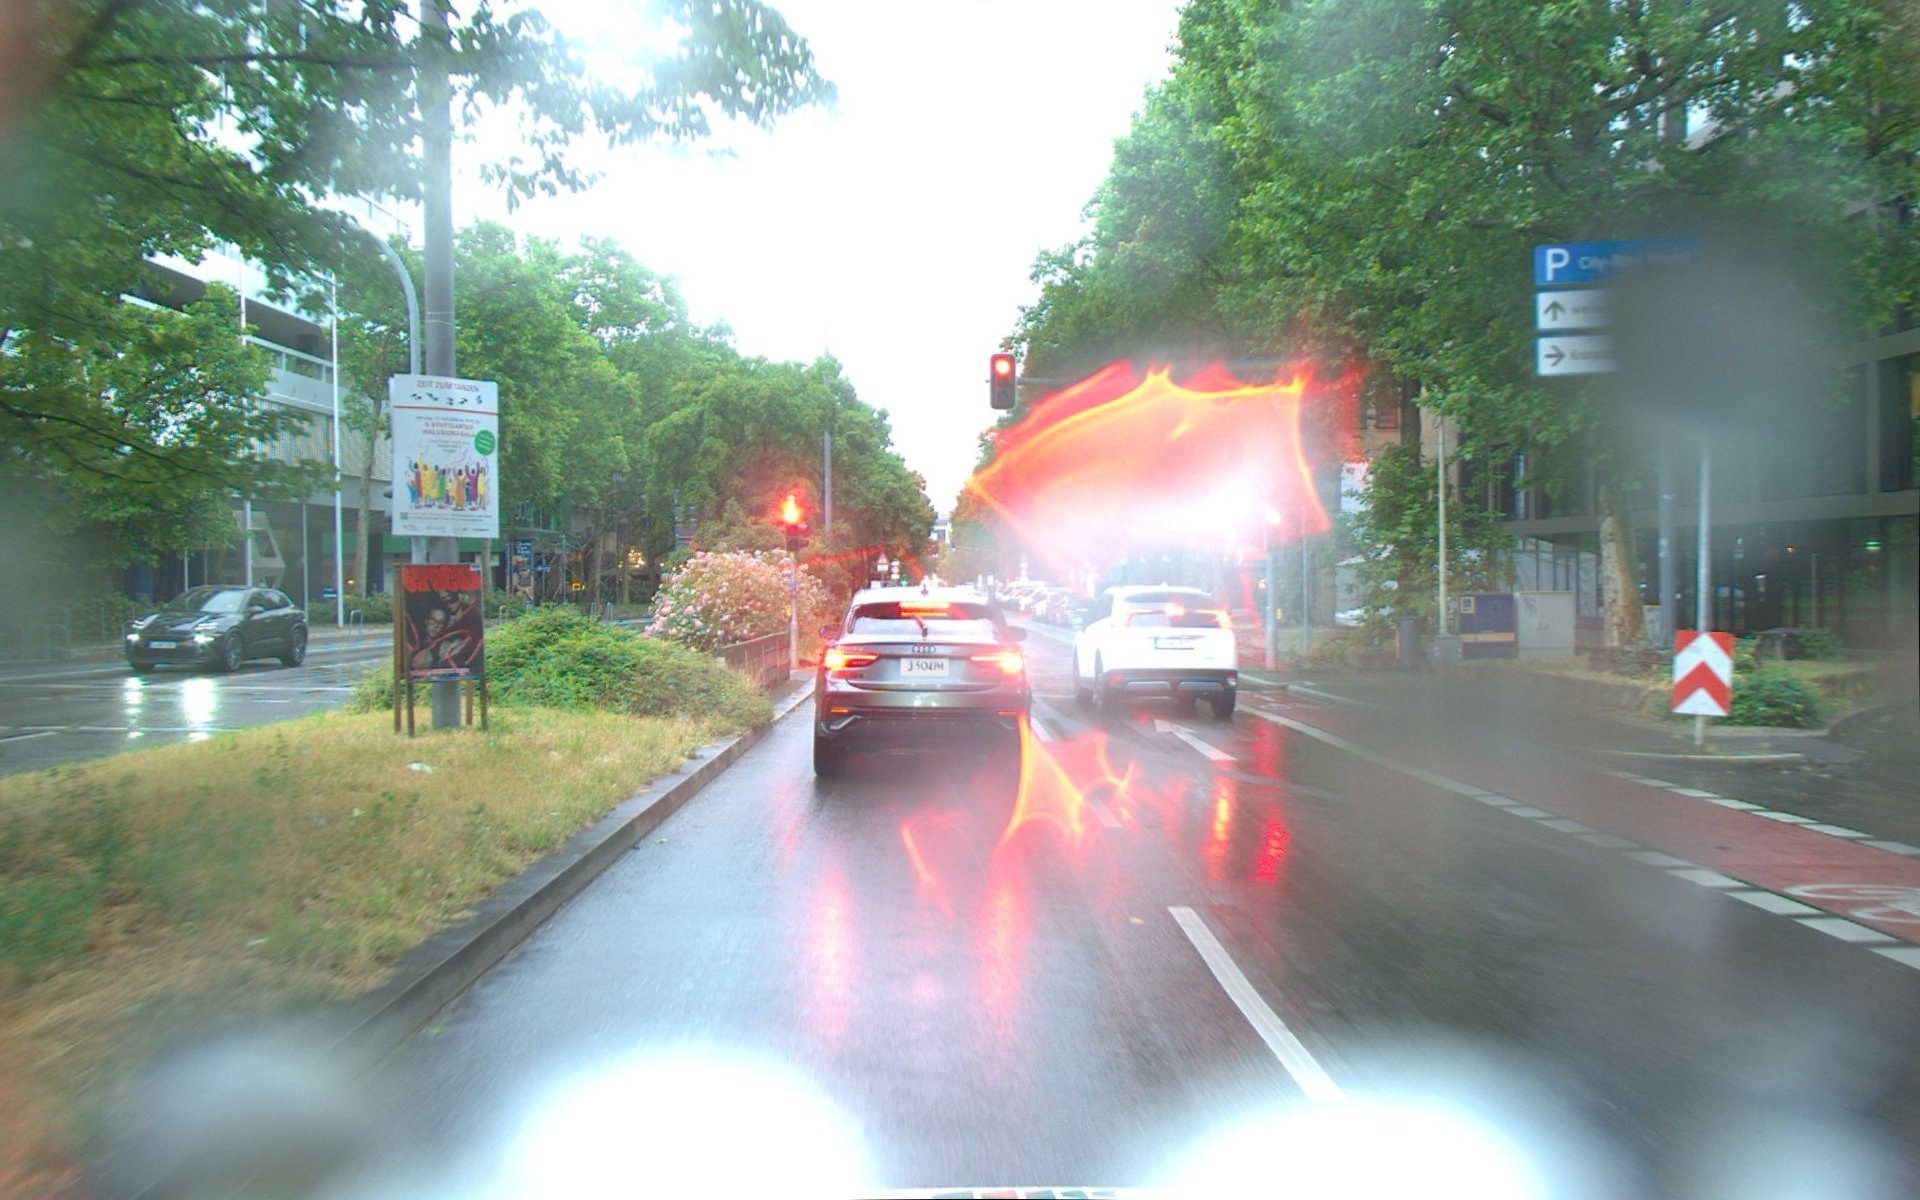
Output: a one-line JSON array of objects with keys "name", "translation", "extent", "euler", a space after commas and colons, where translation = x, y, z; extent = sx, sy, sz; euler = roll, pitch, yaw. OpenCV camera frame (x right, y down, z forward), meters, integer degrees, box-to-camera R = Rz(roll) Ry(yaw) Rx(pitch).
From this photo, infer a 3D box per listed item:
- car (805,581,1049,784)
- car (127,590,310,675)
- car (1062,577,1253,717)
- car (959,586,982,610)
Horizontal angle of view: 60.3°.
[{"name": "car", "translation": [-0.298, 0.611, 14.757], "extent": [1.879, 1.517, 3.999], "euler": [0, 1, -1]}, {"name": "car", "translation": [-14.736, 0.592, 33.126], "extent": [1.792, 1.579, 4.188], "euler": [0, 0, -1]}, {"name": "car", "translation": [2.599, 0.547, 22.906], "extent": [1.953, 1.684, 4.888], "euler": [0, 1, -1]}, {"name": "car", "translation": [0.753, -0.174, 122.920], "extent": [1.587, 1.695, 3.999], "euler": [-1, 1, -1]}]
